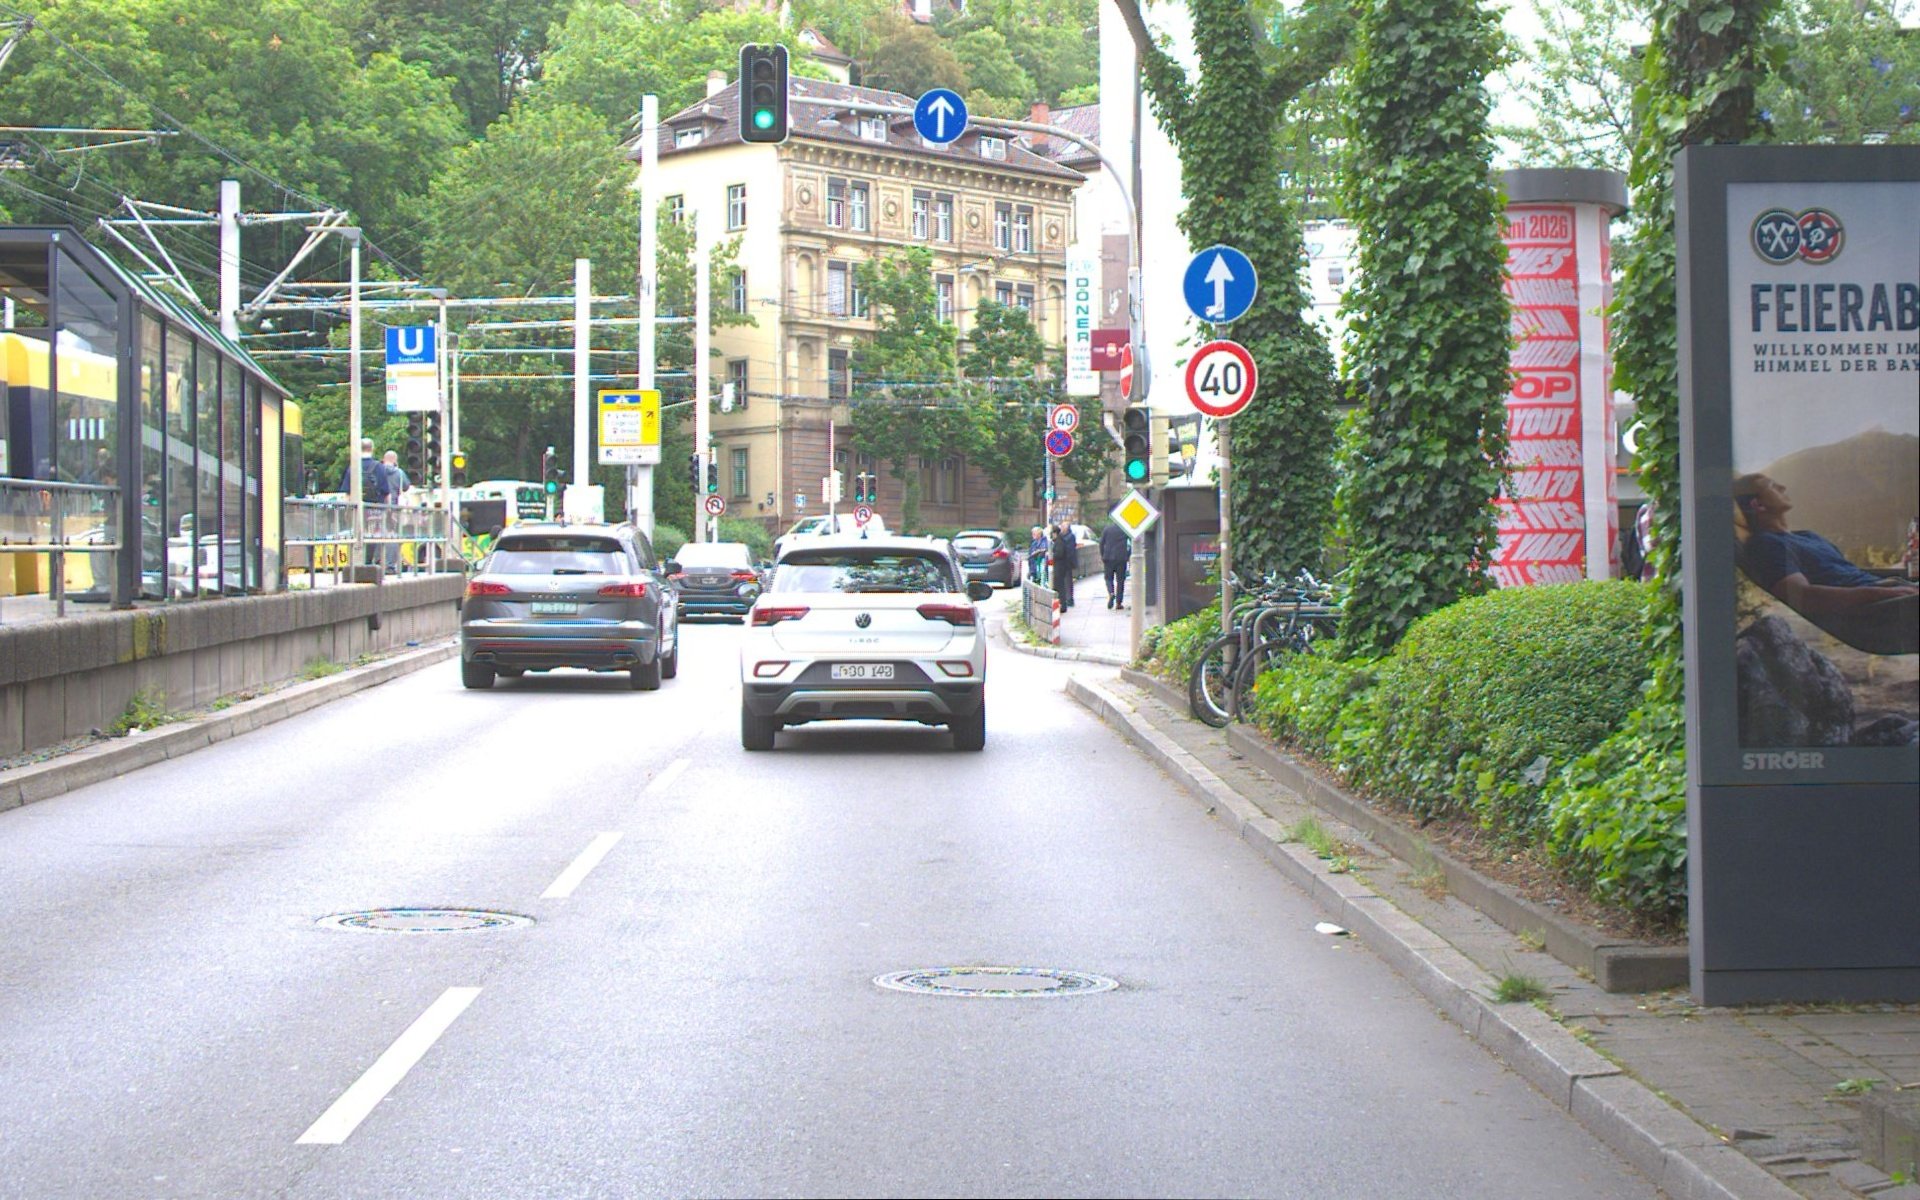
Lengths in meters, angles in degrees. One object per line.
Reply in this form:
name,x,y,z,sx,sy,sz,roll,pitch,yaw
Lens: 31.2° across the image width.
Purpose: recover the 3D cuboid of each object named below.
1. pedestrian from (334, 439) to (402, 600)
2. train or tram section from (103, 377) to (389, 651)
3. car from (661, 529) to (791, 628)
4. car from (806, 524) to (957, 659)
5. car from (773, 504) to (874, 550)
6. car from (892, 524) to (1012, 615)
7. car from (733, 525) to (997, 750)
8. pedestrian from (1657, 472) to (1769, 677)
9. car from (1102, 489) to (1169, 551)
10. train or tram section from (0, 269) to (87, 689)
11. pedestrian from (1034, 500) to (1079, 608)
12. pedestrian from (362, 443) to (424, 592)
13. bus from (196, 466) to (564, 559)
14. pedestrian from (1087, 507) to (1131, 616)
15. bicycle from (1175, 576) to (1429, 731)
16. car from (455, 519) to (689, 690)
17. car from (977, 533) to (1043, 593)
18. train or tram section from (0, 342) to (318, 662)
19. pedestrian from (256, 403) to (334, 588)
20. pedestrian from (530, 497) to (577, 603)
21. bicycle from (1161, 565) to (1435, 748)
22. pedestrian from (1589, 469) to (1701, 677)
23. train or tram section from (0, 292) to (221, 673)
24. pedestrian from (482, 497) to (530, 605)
pedestrian,-7.508,-1.009,43.629,0.762,2.007,0.838,1,-1,-7
train or tram section,-10.226,-1.183,49.946,2.813,3.654,6.751,1,0,-1
car,-4.182,-0.414,62.013,1.912,1.683,4.000,1,1,2
car,-1.017,-0.085,45.878,1.885,1.678,4.161,1,-1,0
car,-5.288,-2.840,133.865,1.916,1.683,3.992,2,1,34
car,-0.196,-0.576,68.270,1.884,1.678,4.162,1,-1,-7
car,-0.646,0.242,26.205,1.837,1.578,4.157,0,1,1
pedestrian,6.000,-0.195,27.404,0.635,1.603,0.588,1,-1,-20
car,6.354,-2.881,124.314,2.365,2.007,5.147,1,-1,3
train or tram section,-9.776,-1.071,29.682,2.813,3.654,6.751,1,0,-1
pedestrian,1.827,-0.868,65.090,0.762,2.007,0.838,1,-1,5
pedestrian,-7.785,-1.120,47.235,0.762,2.007,0.838,1,-1,-7
bus,-20.419,-3.031,120.561,13.300,3.054,3.378,1,-1,27
pedestrian,2.799,-0.721,64.436,0.762,2.007,0.838,1,-1,5
bicycle,2.609,0.404,26.243,1.881,1.133,0.808,1,-1,6
car,-3.908,0.012,35.209,1.993,1.630,4.000,0,1,-1
car,1.529,-1.108,104.522,1.885,1.678,4.161,1,-1,2
train or tram section,-10.074,-1.153,43.191,2.813,3.654,6.751,1,0,-1
pedestrian,-7.424,-1.155,38.396,0.762,2.007,0.838,1,-1,-7
pedestrian,-7.788,-0.955,65.945,0.762,2.007,0.838,1,-1,0
bicycle,2.443,0.404,24.752,1.882,1.262,0.764,1,-1,11
pedestrian,5.409,-0.205,27.165,0.635,1.610,0.588,1,-1,-20
train or tram section,-9.930,-1.167,36.432,2.813,3.654,6.751,1,0,-1
pedestrian,-8.595,-0.919,65.071,0.762,2.007,0.838,1,-1,0
